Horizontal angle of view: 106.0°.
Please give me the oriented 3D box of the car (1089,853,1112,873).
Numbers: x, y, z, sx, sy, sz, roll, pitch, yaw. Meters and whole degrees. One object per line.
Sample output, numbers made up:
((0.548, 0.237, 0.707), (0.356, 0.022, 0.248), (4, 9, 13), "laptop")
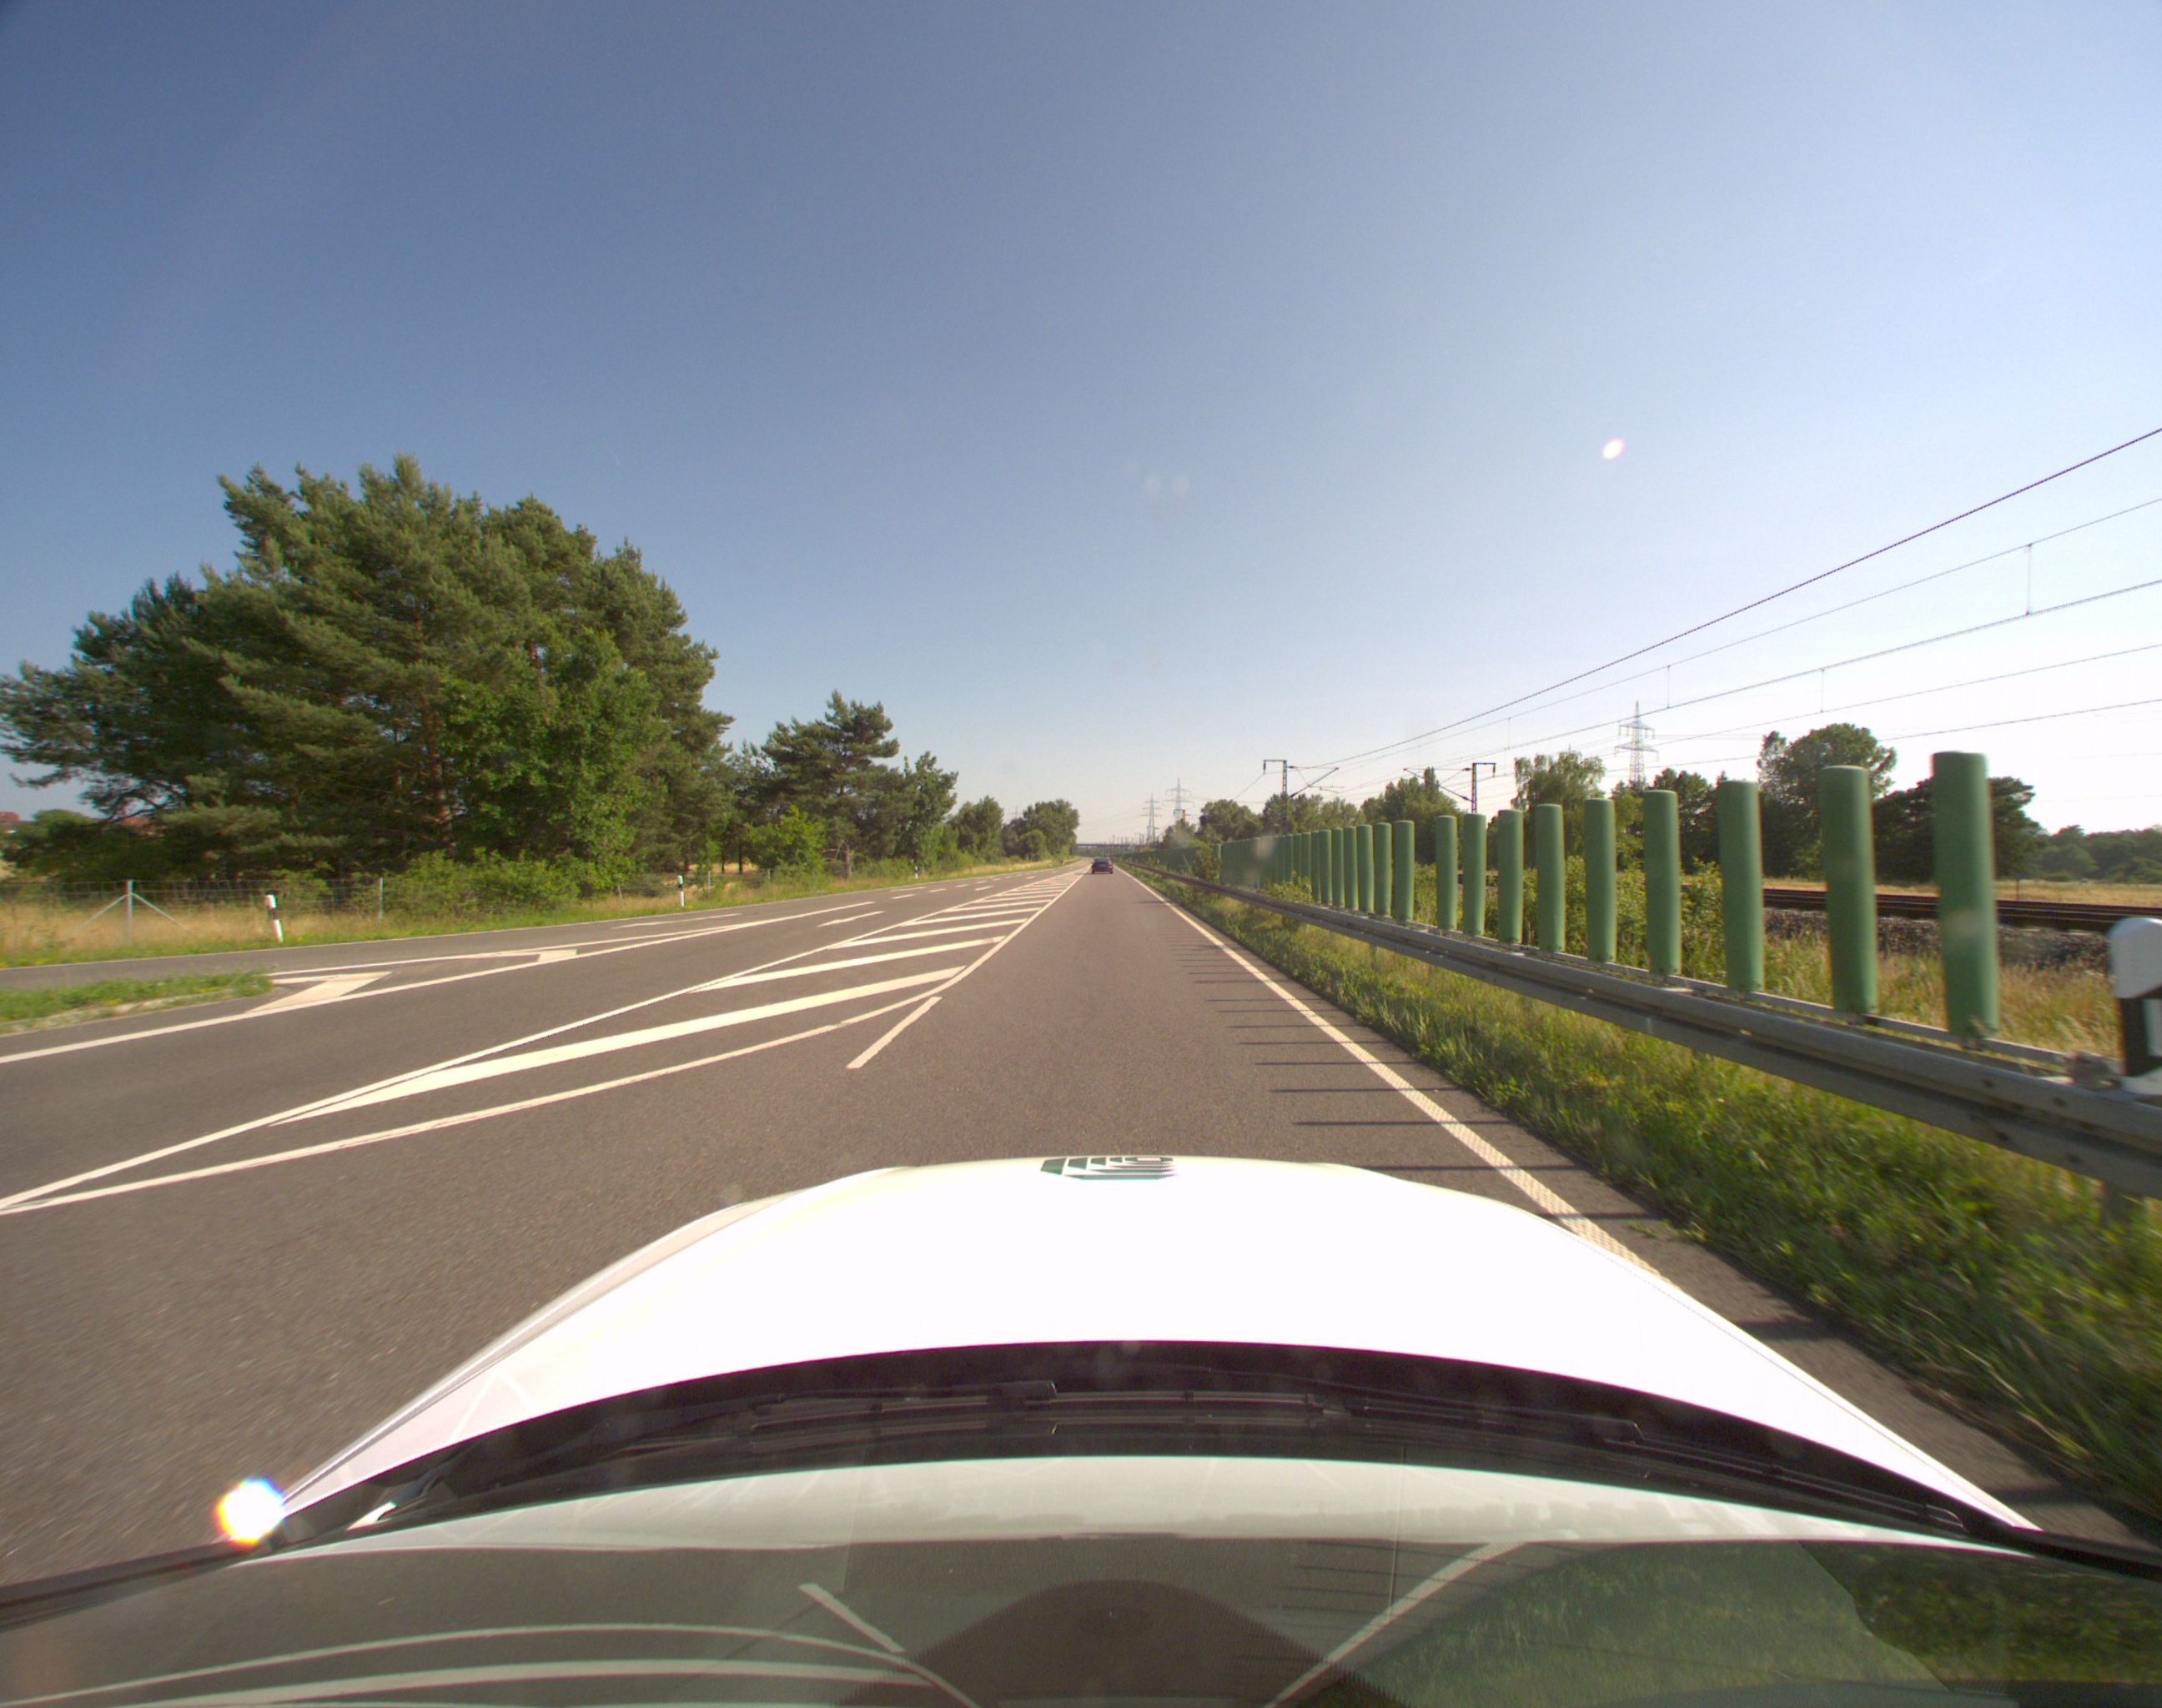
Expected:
((1.711, 0.763, 70.839), (1.851, 1.642, 4.002), (-2, 0, 2), "car")
